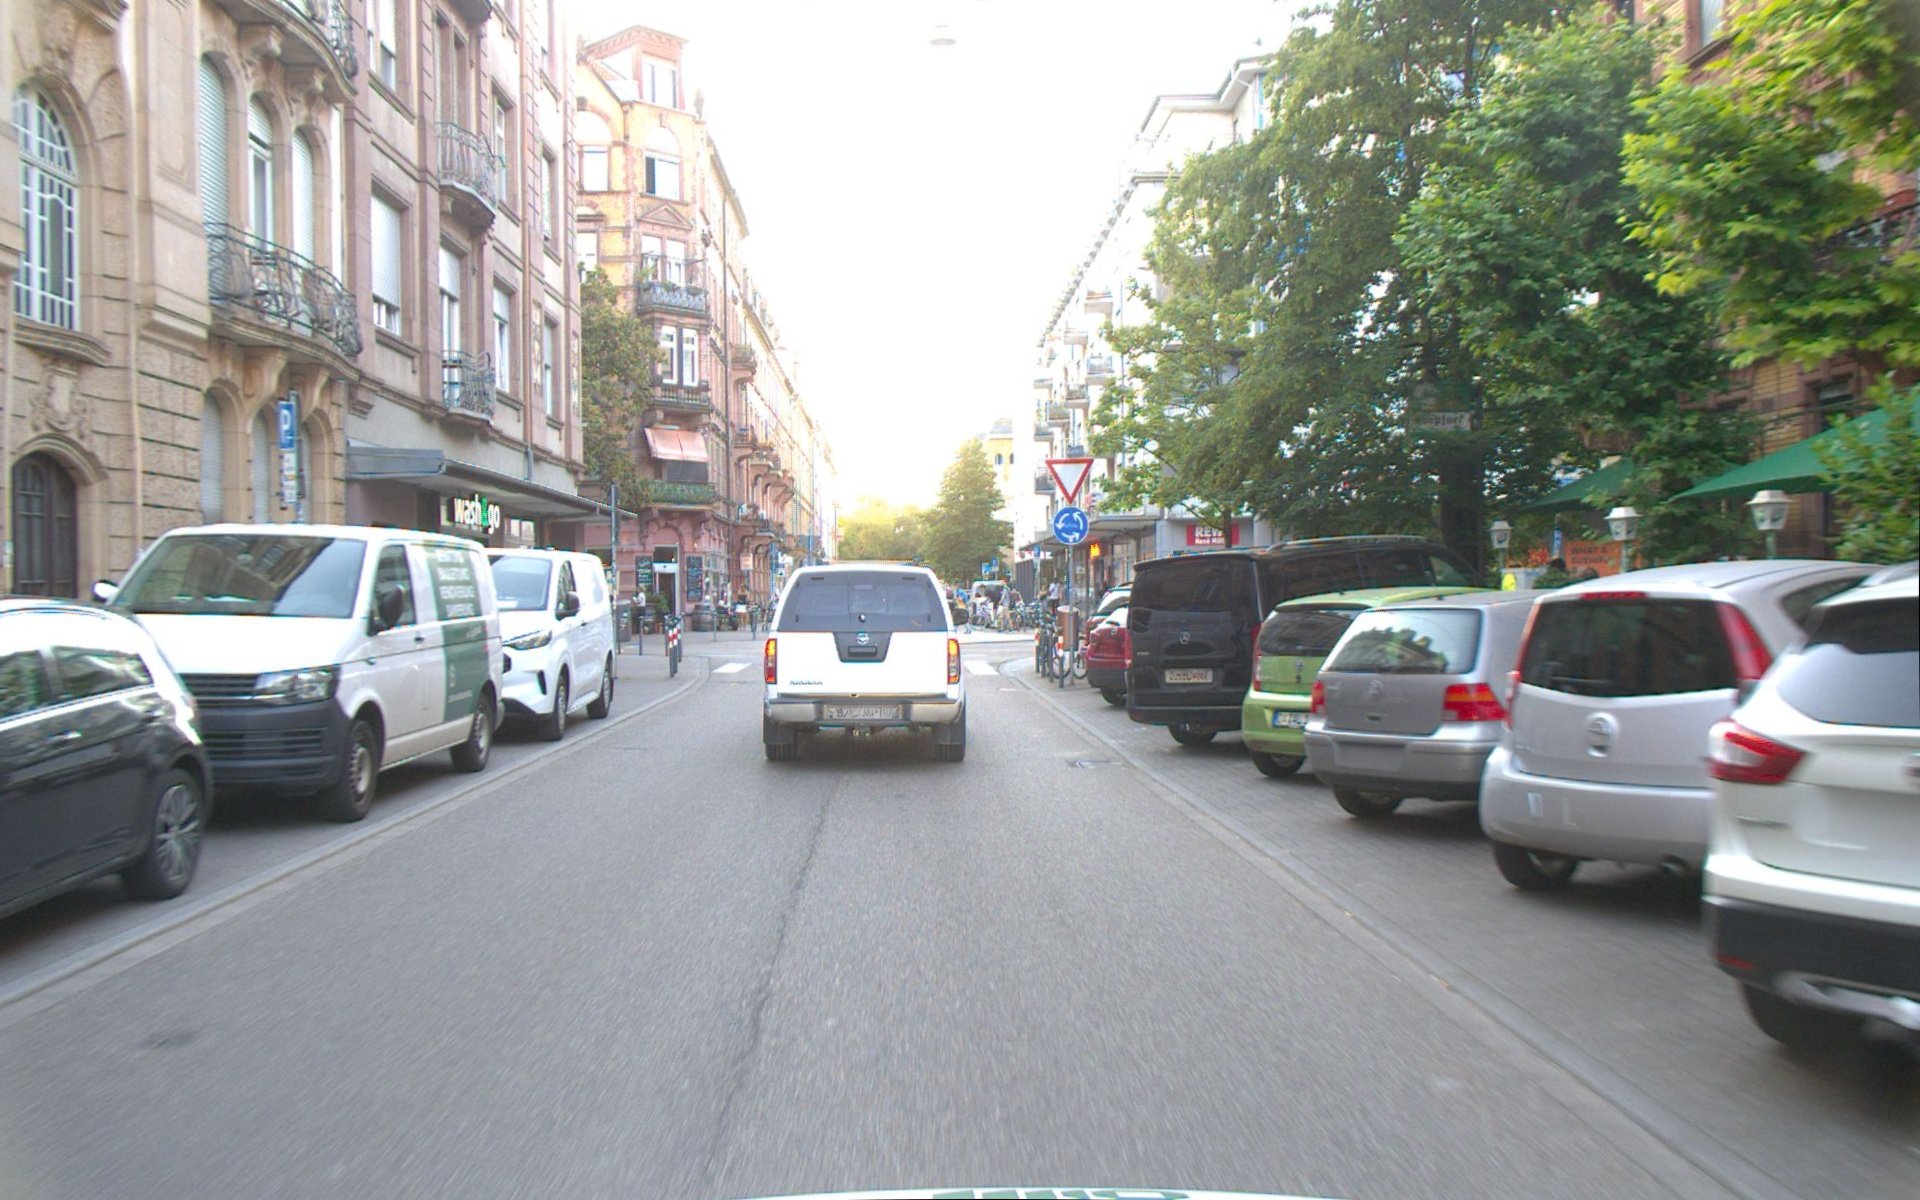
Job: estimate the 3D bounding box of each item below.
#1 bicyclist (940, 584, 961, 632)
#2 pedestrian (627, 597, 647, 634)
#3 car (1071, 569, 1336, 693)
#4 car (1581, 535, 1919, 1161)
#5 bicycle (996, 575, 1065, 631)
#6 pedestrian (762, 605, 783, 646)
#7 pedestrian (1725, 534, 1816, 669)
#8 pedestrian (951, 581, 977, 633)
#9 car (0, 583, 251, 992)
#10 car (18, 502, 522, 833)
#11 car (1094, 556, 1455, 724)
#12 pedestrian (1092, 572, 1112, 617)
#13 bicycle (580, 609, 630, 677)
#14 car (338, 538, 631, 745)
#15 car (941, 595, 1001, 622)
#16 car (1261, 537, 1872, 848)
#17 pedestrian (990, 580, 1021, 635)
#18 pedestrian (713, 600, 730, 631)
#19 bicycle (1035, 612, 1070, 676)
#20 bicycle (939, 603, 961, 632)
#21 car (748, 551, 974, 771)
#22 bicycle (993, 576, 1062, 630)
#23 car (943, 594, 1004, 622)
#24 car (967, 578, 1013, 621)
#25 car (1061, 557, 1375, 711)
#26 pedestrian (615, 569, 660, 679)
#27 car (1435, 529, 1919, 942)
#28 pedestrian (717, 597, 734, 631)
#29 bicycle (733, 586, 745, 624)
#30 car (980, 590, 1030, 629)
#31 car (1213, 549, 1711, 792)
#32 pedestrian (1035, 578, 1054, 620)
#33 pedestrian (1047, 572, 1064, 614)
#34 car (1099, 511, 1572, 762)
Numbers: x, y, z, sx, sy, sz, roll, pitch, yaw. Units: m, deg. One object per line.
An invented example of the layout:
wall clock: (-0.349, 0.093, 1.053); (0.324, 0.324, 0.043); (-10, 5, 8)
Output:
bicyclist: (-0.405, 0.322, 68.790); (0.820, 1.978, 0.785); (0, -1, 3)
pedestrian: (-11.186, 0.527, 57.281); (0.446, 1.284, 0.575); (0, -1, 22)
car: (3.832, 0.427, 25.738); (4.001, 1.656, 1.673); (-3, 2, -34)
car: (4.140, 0.550, 5.523); (4.059, 1.618, 1.798); (-4, 1, -33)
bicycle: (2.664, 0.117, 62.592); (2.593, 2.049, 0.637); (1, -1, -1)
pedestrian: (-7.617, 1.018, 67.201); (0.782, 1.649, 0.943); (1, -1, -5)
pedestrian: (8.529, 0.018, 17.420); (0.576, 1.390, 0.696); (1, -1, -6)
pedestrian: (0.135, 0.247, 56.960); (0.885, 1.767, 0.616); (1, -1, 0)
car: (-4.448, 0.693, 6.453); (1.801, 1.496, 4.169); (0, 0, -4)
car: (-4.744, 0.395, 12.266); (1.800, 1.955, 4.844); (0, 0, -1)
car: (3.852, 0.418, 19.965); (4.178, 1.650, 1.909); (-4, 1, -36)
pedestrian: (5.422, -0.219, 63.058); (0.705, 1.692, 0.702); (1, -1, 0)
bicycle: (-6.275, 0.753, 29.305); (0.461, 1.162, 1.785); (1, -1, 1)
car: (-5.051, 0.389, 18.362); (2.067, 1.955, 5.022); (0, 0, -4)
car: (0.731, 0.549, 112.362); (3.908, 1.780, 1.839); (1, -1, -3)
car: (4.153, 0.485, 11.121); (4.061, 1.578, 1.797); (-4, 1, -34)
pedestrian: (1.596, 0.260, 57.689); (0.895, 1.918, 0.609); (1, -1, -33)
pedestrian: (-9.181, 0.600, 63.718); (0.636, 1.211, 0.539); (1, -1, -6)
bicycle: (1.617, 0.755, 29.034); (0.357, 1.082, 1.550); (1, -1, -6)
bicycle: (-0.400, 0.714, 68.699); (0.820, 1.192, 1.936); (1, 0, 2)
car: (-0.823, 0.530, 16.486); (1.898, 1.842, 5.001); (1, 0, 0)
bicycle: (2.594, 0.122, 63.404); (2.593, 2.049, 0.637); (1, -1, -1)
car: (0.874, 0.534, 110.129); (3.908, 1.780, 1.839); (1, -1, -3)
car: (1.399, -0.004, 78.804); (1.904, 1.967, 3.997); (1, 0, -3)
car: (3.552, 0.401, 22.388); (4.187, 1.717, 1.905); (-4, 2, -41)
pedestrian: (-5.514, 0.408, 28.304); (0.525, 1.855, 0.997); (1, -1, 1)
car: (4.478, 0.488, 8.749); (4.072, 1.618, 1.792); (-4, 1, -40)
pedestrian: (-9.197, 0.560, 64.905); (0.636, 1.308, 0.539); (1, -1, -6)
bicycle: (-8.670, 0.204, 65.020); (0.416, 1.468, 1.902); (1, -1, -6)
car: (1.860, 0.403, 70.037); (1.798, 1.569, 3.997); (1, 0, -3)
car: (4.254, 0.486, 13.807); (4.061, 1.578, 1.797); (-4, 1, -34)
pedestrian: (3.428, -0.022, 67.327); (0.705, 1.692, 0.702); (1, -1, -2)
pedestrian: (4.411, -0.307, 76.754); (0.705, 1.940, 0.702); (1, -1, -2)
car: (4.041, 0.250, 17.137); (5.389, 2.108, 1.905); (-4, 1, -41)
